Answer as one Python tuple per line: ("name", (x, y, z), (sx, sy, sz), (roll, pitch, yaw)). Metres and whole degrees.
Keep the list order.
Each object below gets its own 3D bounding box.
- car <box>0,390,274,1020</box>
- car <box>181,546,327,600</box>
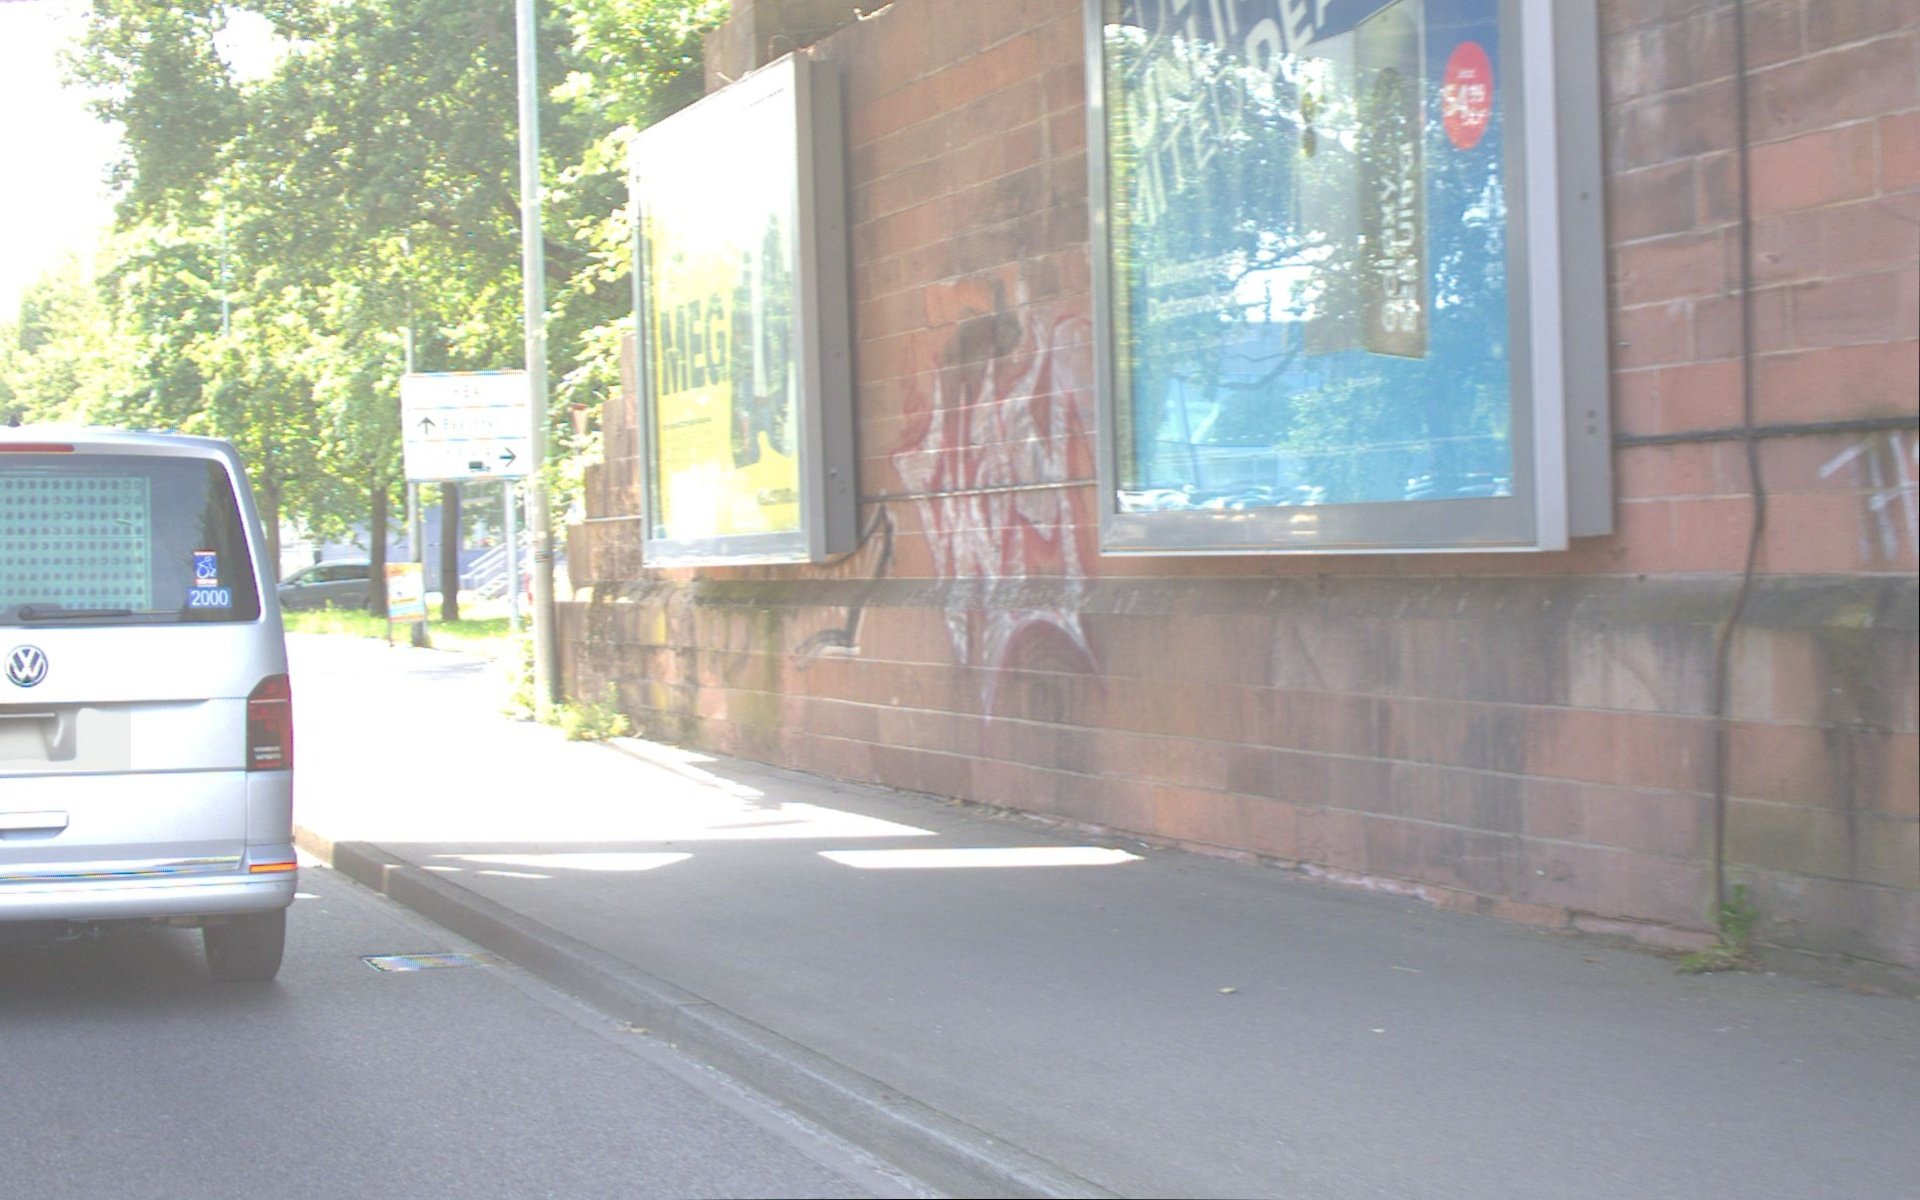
("car", (-3.973, 0.297, 13.049), (1.941, 1.965, 5.023), (0, 1, -20))
("car", (-19.797, -0.773, 96.396), (3.799, 1.411, 1.702), (-2, 1, -18))
